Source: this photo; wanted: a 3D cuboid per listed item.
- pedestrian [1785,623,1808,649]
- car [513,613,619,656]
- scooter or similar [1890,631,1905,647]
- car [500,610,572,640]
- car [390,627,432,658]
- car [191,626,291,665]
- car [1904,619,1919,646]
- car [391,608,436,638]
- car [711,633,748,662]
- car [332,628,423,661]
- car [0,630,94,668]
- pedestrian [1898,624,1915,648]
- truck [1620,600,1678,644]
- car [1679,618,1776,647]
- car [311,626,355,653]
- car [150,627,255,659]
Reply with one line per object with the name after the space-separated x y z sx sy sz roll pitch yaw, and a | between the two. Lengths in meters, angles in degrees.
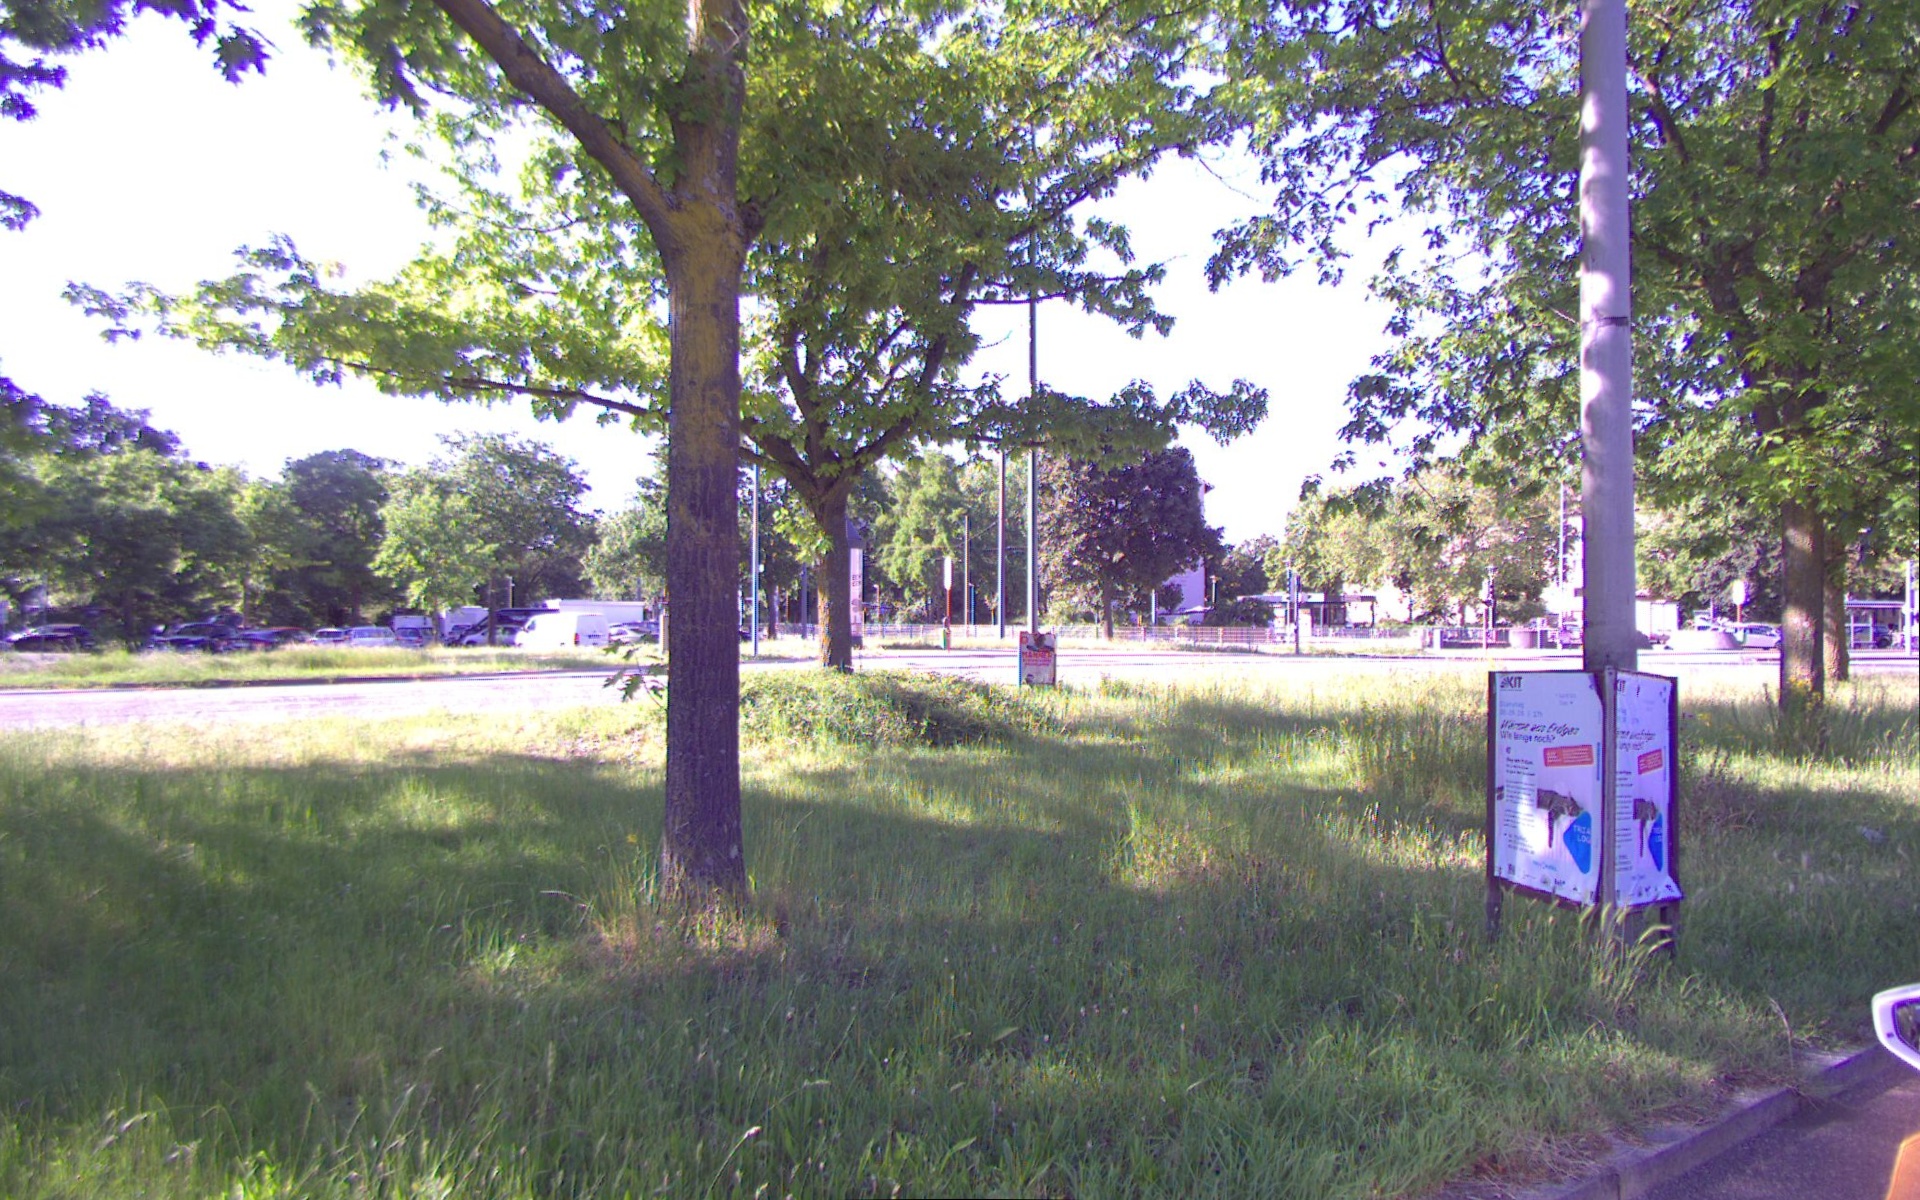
53.737 2.318 64.512 0.781 1.629 0.923 0 -1 9 | pedestrian
-17.213 1.476 43.810 4.670 1.762 2.024 0 -1 34 | car
55.364 2.326 59.337 0.524 0.939 0.421 0 -1 -4 | scooter or similar
-24.124 1.415 57.299 3.698 1.691 1.883 1 -1 -23 | car
-26.696 2.031 48.789 1.602 1.438 3.050 1 -1 -33 | car
-25.228 1.565 35.254 2.769 1.323 1.326 1 -1 -40 | car
71.839 2.388 73.154 1.910 2.040 4.155 1 -1 -31 | car
-32.482 1.367 59.796 1.865 1.691 3.733 1 -1 -22 | car
-12.025 2.455 52.497 1.589 1.438 3.073 0 -1 -8 | car
-21.821 1.636 37.644 2.769 1.171 1.326 1 -1 -40 | car
-47.653 2.499 51.916 1.966 1.817 3.990 0 -1 32 | car
55.929 2.107 59.379 0.614 1.409 0.416 0 -1 -3 | pedestrian
46.647 1.477 68.095 1.960 2.842 4.002 0 -1 15 | truck
46.913 1.963 61.470 4.233 1.706 2.001 0 -1 9 | car
-29.289 1.827 46.875 1.603 1.194 3.047 1 -1 -35 | car
-26.838 1.506 35.639 1.315 1.078 2.777 -1 -1 42 | car
